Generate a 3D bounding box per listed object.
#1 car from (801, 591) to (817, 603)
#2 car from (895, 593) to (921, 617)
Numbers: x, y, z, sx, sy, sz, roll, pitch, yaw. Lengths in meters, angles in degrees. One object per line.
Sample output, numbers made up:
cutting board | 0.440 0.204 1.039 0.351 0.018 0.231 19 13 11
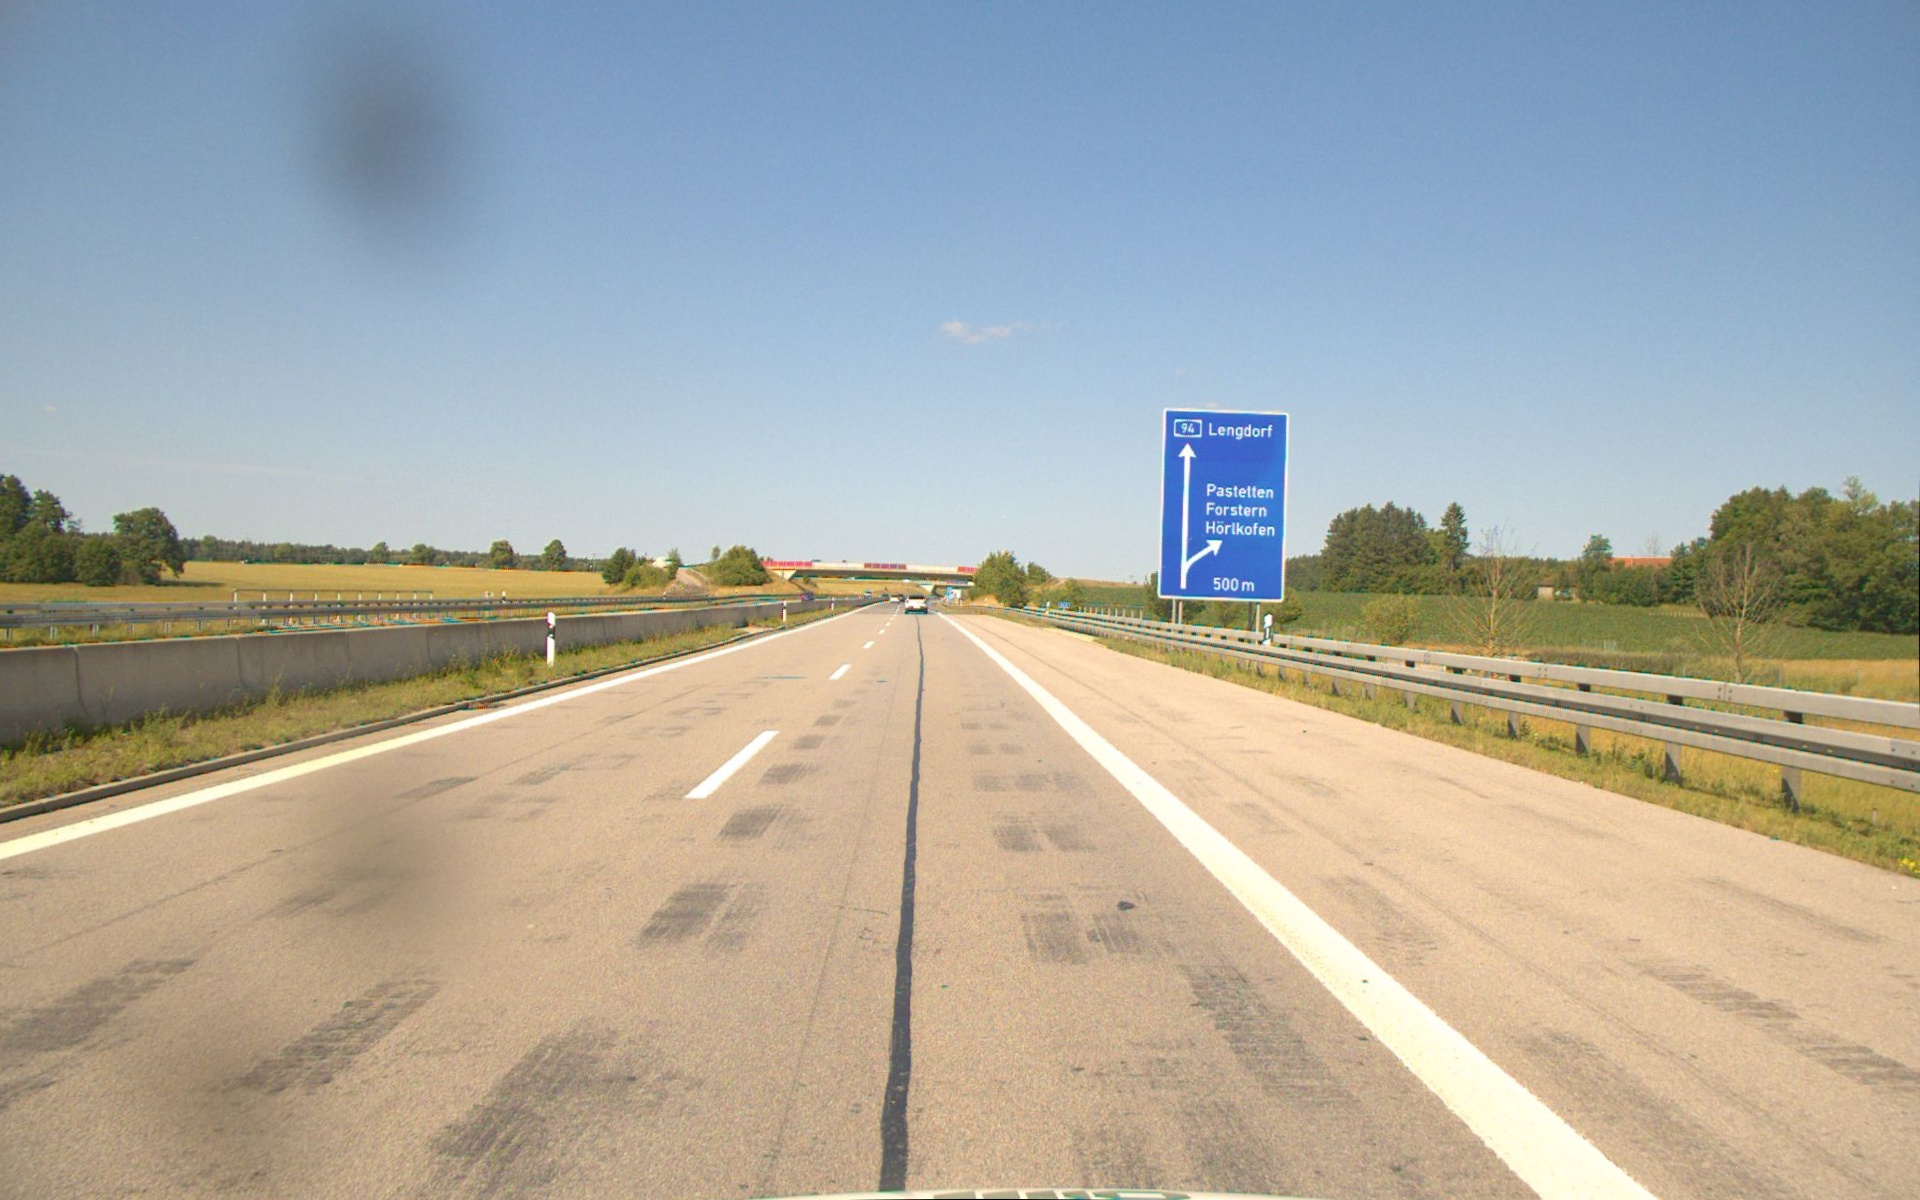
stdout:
car | -20.448 -0.374 224.733 1.859 1.550 4.804 -1 0 -2
car | -4.157 0.394 131.360 1.954 1.761 4.866 2 0 -3
